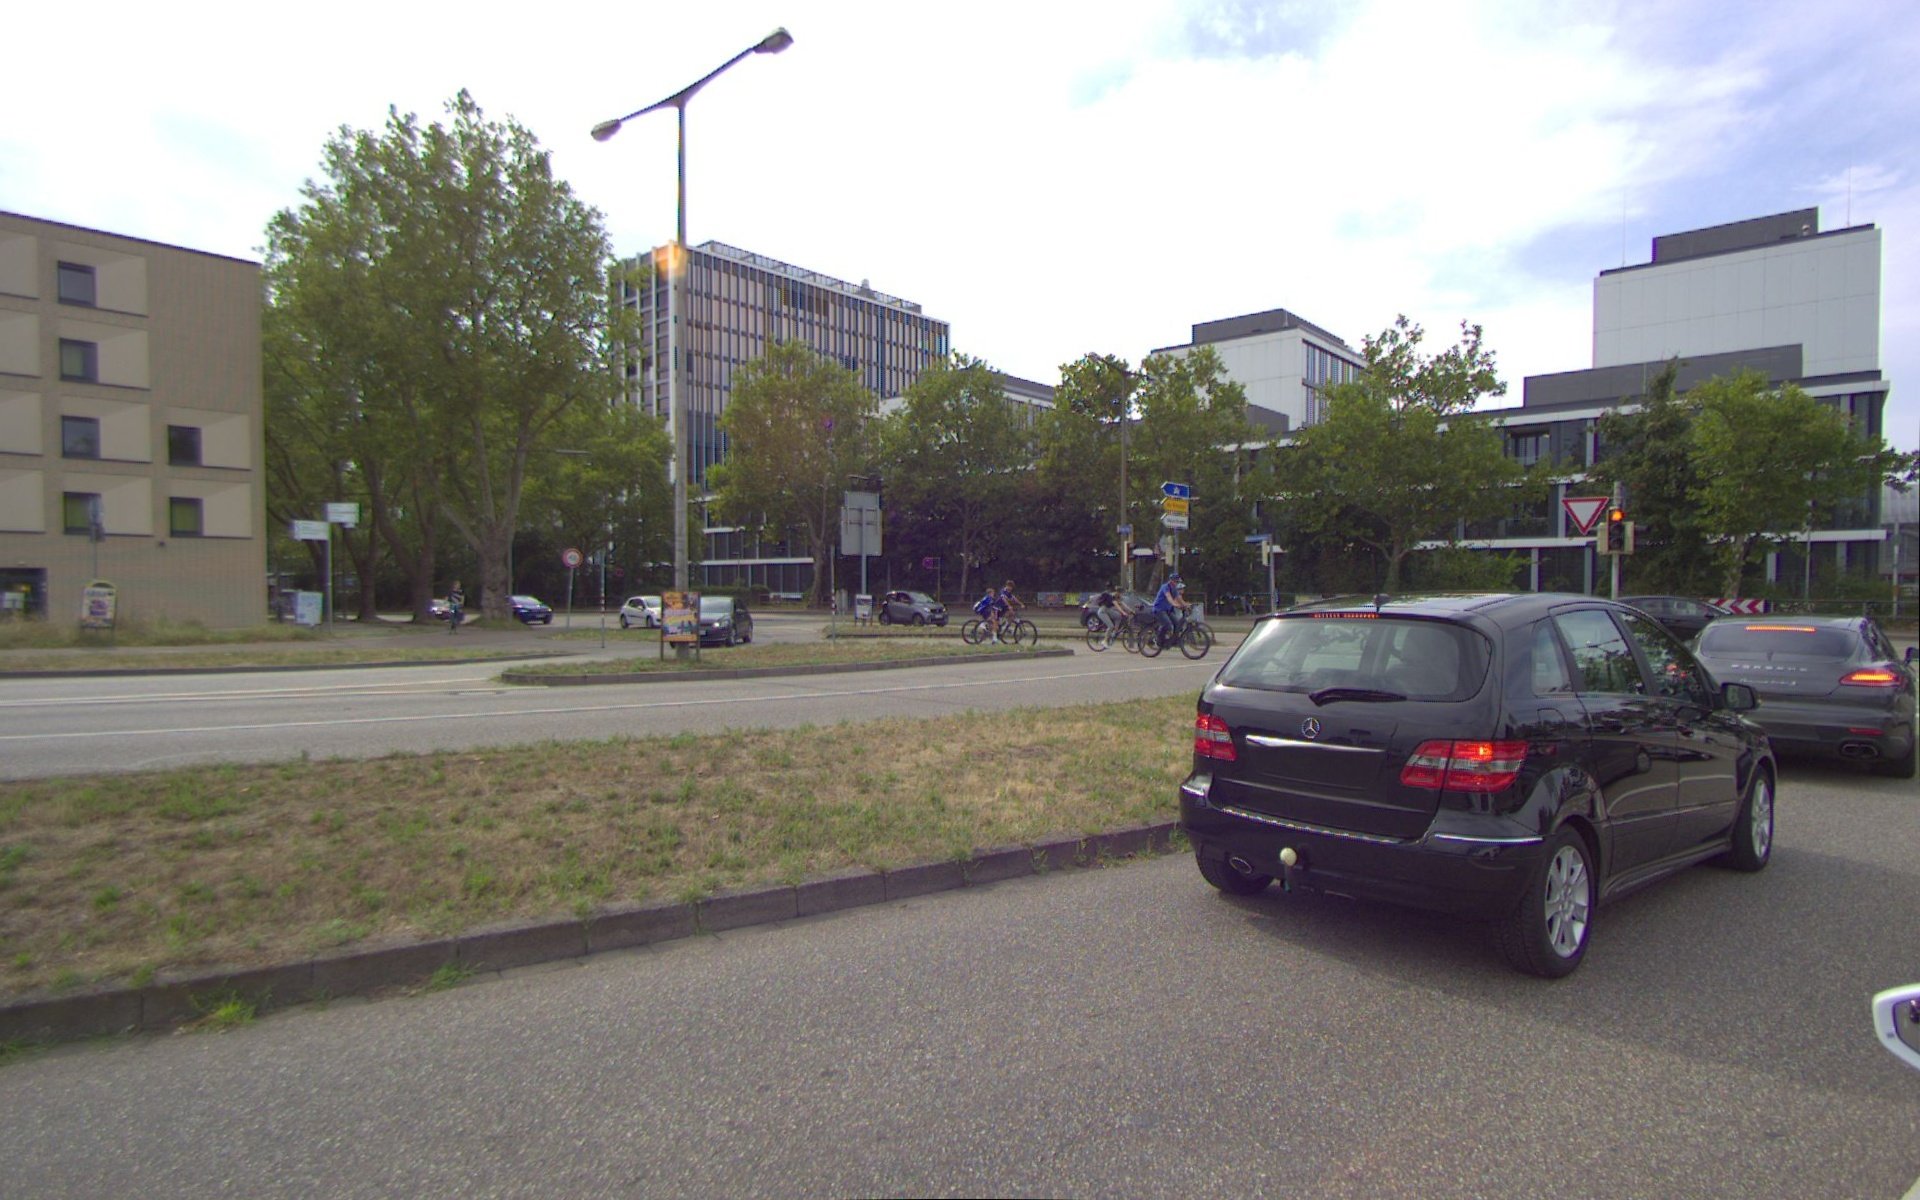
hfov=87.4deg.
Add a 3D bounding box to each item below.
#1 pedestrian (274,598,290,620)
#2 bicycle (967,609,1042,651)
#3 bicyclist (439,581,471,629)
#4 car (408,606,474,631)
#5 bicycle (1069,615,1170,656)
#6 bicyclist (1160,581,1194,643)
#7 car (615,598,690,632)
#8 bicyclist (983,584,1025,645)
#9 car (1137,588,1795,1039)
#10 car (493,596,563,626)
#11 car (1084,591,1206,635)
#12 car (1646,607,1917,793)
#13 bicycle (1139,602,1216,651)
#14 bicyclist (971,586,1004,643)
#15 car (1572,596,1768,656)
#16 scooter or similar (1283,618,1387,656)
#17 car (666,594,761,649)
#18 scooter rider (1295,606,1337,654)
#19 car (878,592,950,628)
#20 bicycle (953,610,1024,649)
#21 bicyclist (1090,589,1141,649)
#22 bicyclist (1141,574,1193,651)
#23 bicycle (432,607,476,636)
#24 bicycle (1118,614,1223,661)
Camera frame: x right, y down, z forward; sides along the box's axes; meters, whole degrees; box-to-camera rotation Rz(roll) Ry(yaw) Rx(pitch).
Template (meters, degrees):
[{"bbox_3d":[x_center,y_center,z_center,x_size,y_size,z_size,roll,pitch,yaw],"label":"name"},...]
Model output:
[{"bbox_3d":[-34.447,0.459,51.017,0.455,1.140,0.501,1,1,29],"label":"pedestrian"},{"bbox_3d":[1.160,0.766,26.084,1.868,1.027,0.629,0,1,12],"label":"bicycle"},{"bbox_3d":[-17.517,0.162,34.887,0.728,1.636,0.919,0,0,-8],"label":"bicyclist"},{"bbox_3d":[-32.309,1.144,62.480,4.145,1.399,1.943,1,0,36],"label":"car"},{"bbox_3d":[3.936,0.866,25.037,2.556,0.902,0.700,1,1,44],"label":"bicycle"},{"bbox_3d":[5.682,0.310,26.318,0.767,1.602,0.654,1,1,22],"label":"bicyclist"},{"bbox_3d":[-14.397,0.692,46.979,3.823,1.464,1.721,1,0,44],"label":"car"},{"bbox_3d":[1.137,0.357,26.081,0.999,1.560,0.629,0,1,12],"label":"bicyclist"},{"bbox_3d":[2.976,0.748,5.549,4.001,1.596,1.743,-1,2,-39],"label":"car"},{"bbox_3d":[-24.283,0.626,56.456,4.398,1.581,1.939,1,0,42],"label":"car"},{"bbox_3d":[6.618,0.436,36.122,4.011,1.470,1.694,1,0,42],"label":"car"},{"bbox_3d":[8.704,0.828,10.471,1.799,1.433,4.747,2,1,44],"label":"car"},{"bbox_3d":[5.697,0.683,26.327,1.870,1.226,0.642,1,1,22],"label":"bicycle"},{"bbox_3d":[0.748,0.383,27.493,0.824,1.550,0.629,0,1,9],"label":"bicyclist"},{"bbox_3d":[18.322,0.615,26.013,4.010,1.386,1.694,1,0,41],"label":"car"},{"bbox_3d":[9.297,0.903,24.937,2.342,0.861,0.808,1,1,26],"label":"scooter or similar"},{"bbox_3d":[-7.062,0.581,29.181,1.763,1.438,4.000,1,0,0],"label":"car"},{"bbox_3d":[8.914,0.739,25.137,0.899,1.152,0.808,1,1,26],"label":"scooter rider"},{"bbox_3d":[-1.938,0.392,42.093,2.678,1.441,1.492,1,1,39],"label":"car"},{"bbox_3d":[0.793,0.795,27.494,1.868,1.027,0.629,0,1,9],"label":"bicycle"},{"bbox_3d":[3.885,0.465,25.086,1.102,1.456,0.644,1,1,44],"label":"bicyclist"},{"bbox_3d":[4.671,0.273,22.668,0.871,1.678,0.807,1,1,41],"label":"bicyclist"},{"bbox_3d":[-17.532,0.729,34.844,0.728,0.921,2.116,0,0,-8],"label":"bicycle"},{"bbox_3d":[4.722,0.811,22.622,2.203,0.965,0.807,1,0,42],"label":"bicycle"}]
